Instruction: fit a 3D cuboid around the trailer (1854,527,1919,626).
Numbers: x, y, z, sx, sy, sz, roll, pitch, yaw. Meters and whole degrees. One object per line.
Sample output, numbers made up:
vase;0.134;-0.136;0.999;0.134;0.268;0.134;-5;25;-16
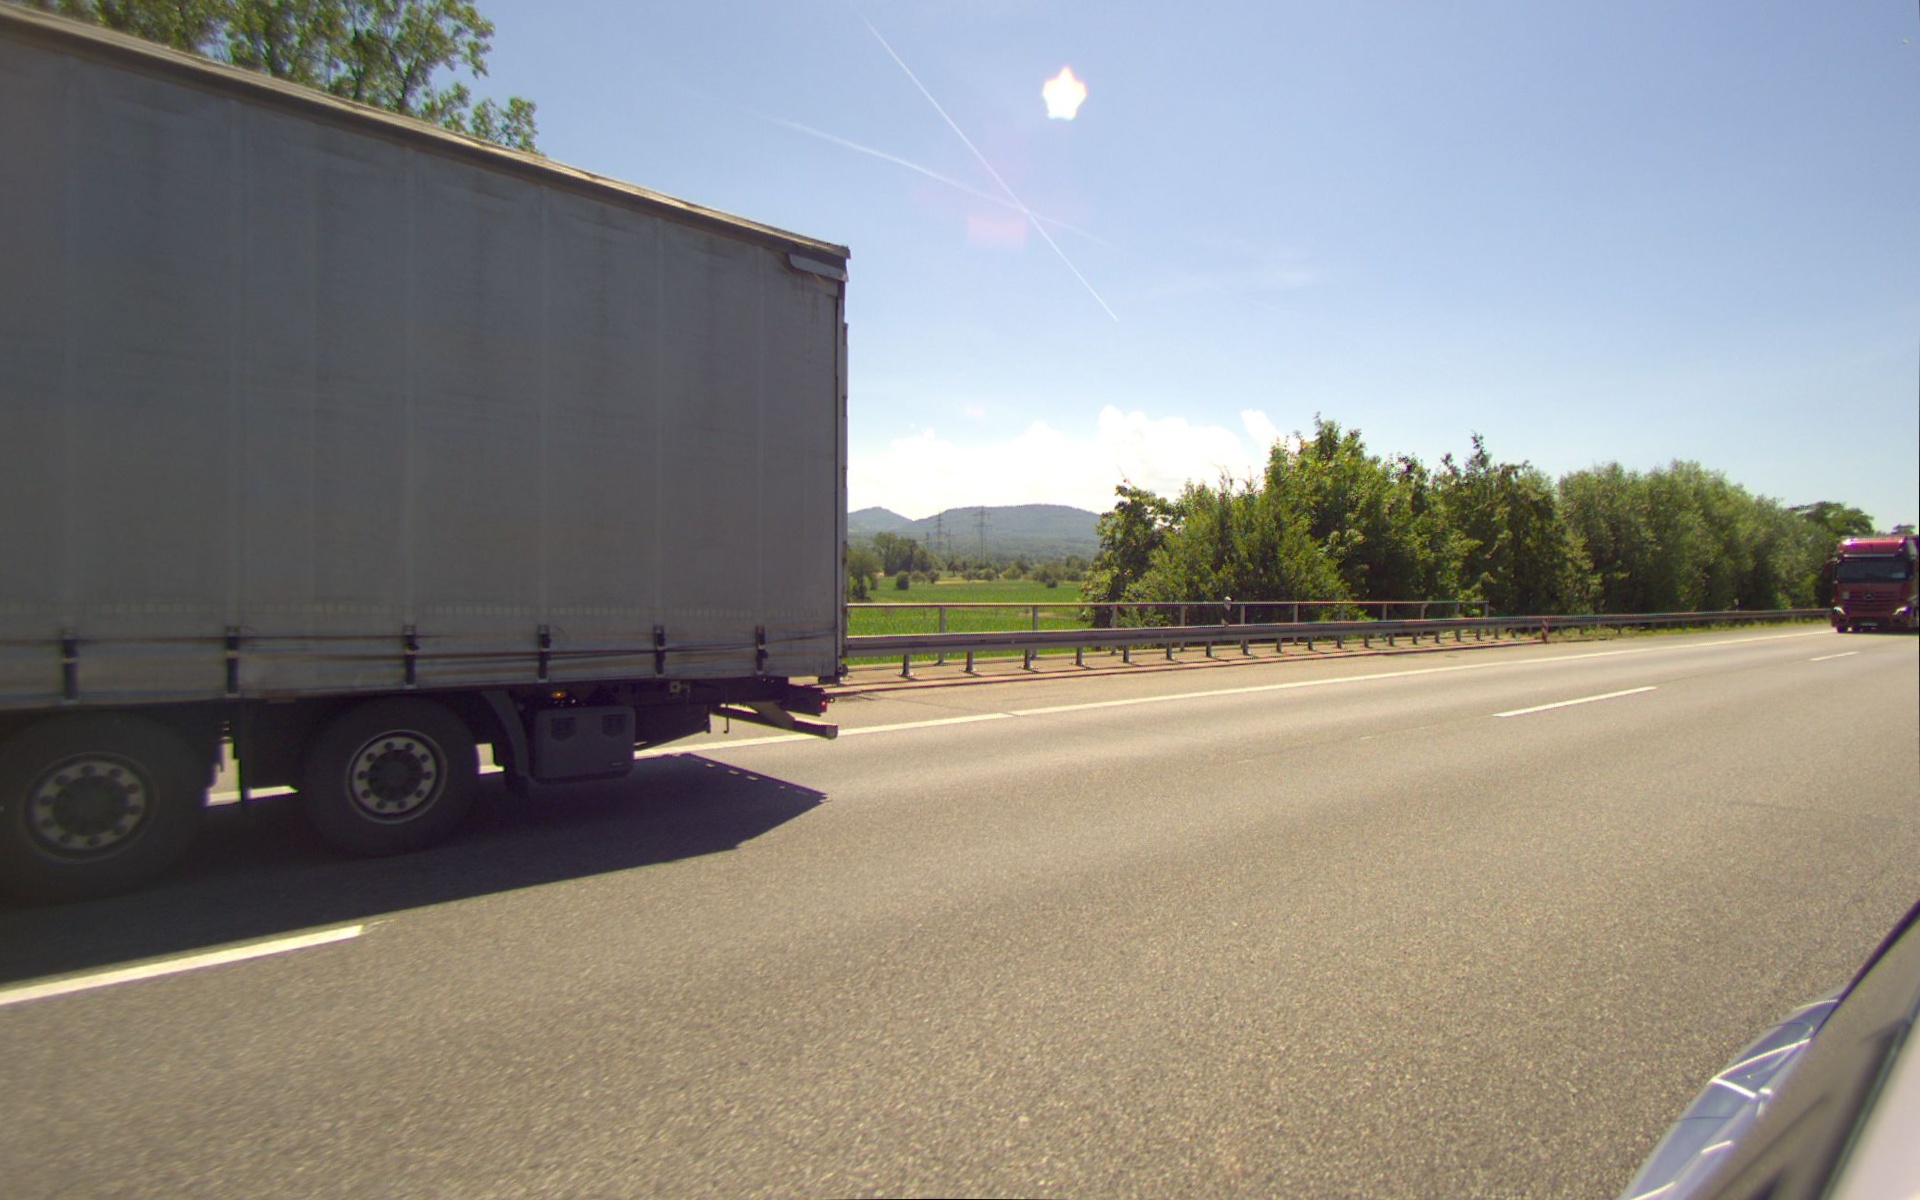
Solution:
trailer;44.360;-1.053;46.932;12.085;4.170;2.800;-1;0;-41

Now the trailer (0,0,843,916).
trailer;-6.657;-0.678;4.161;13.008;4.170;2.705;-1;0;-41

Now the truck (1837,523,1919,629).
truck;39.886;-0.989;43.059;7.634;4.170;2.800;-1;0;-41
